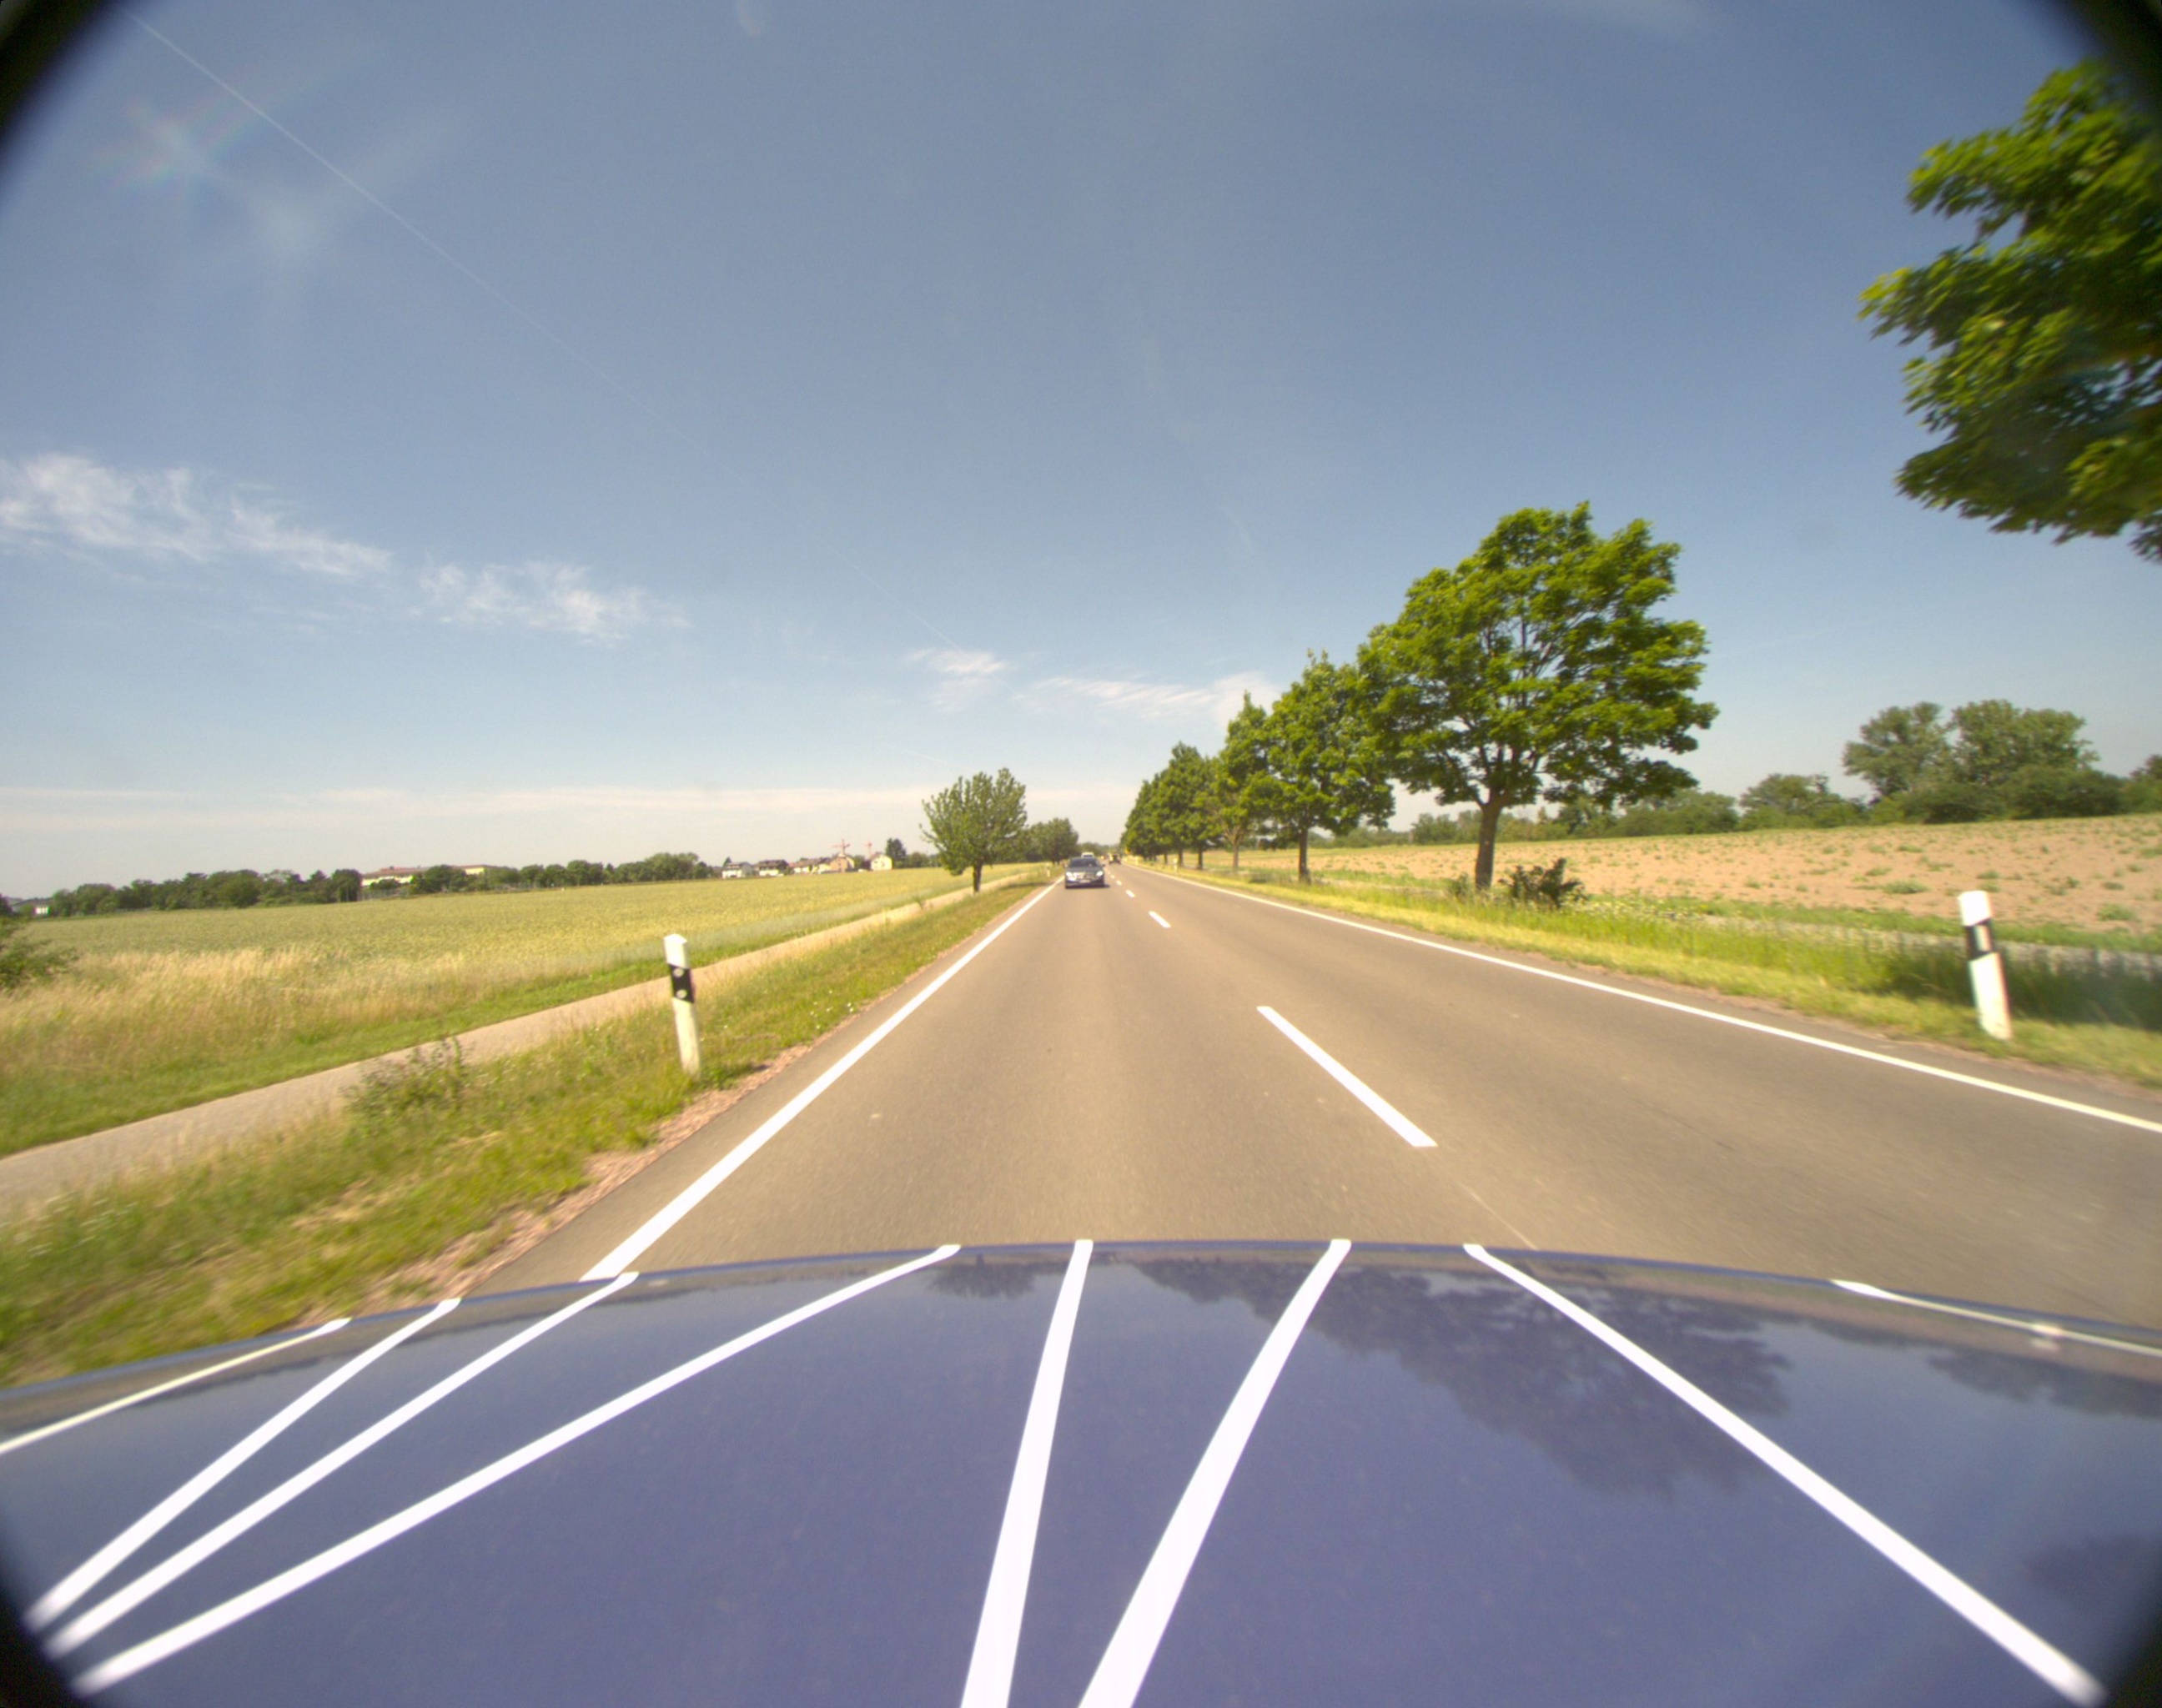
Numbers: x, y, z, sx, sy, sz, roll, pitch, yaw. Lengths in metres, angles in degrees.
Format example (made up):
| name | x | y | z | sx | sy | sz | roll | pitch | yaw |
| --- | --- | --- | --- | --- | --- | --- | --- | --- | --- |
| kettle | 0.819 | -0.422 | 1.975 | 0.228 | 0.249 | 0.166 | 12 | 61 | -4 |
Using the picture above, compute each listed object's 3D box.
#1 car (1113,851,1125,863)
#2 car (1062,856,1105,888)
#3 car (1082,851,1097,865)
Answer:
| name | x | y | z | sx | sy | sz | roll | pitch | yaw |
| --- | --- | --- | --- | --- | --- | --- | --- | --- | --- |
| car | 5.883 | 0.424 | 117.108 | 1.685 | 1.838 | 4.000 | -3 | 0 | 1 |
| car | 0.160 | 0.836 | 37.076 | 1.953 | 1.391 | 4.000 | -1 | 0 | 2 |
| car | 1.251 | 0.534 | 108.768 | 1.998 | 1.907 | 4.207 | -3 | 0 | 3 |
